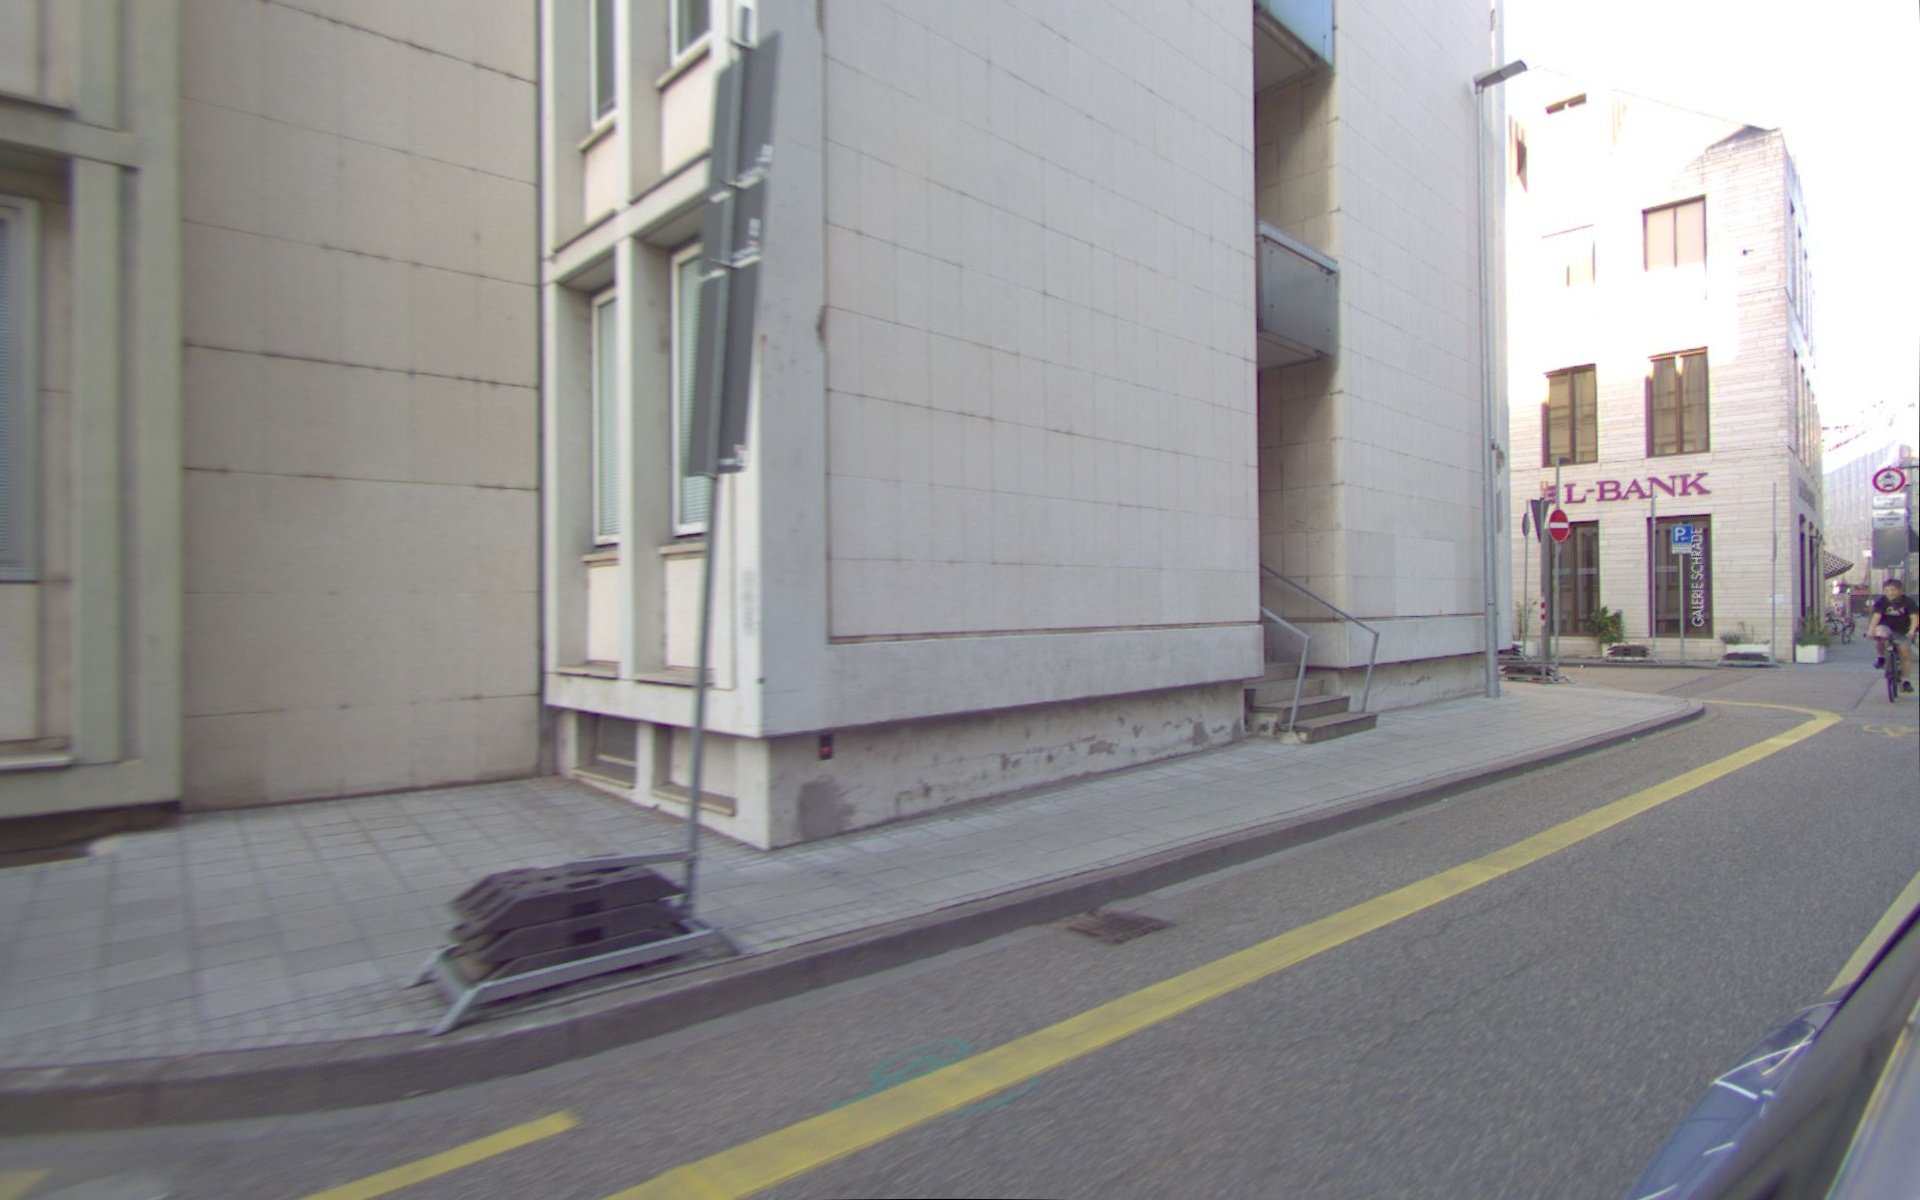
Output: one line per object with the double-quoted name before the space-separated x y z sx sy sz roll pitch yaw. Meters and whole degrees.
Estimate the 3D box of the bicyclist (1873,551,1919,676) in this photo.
"bicyclist" 13.507 0.183 14.413 0.541 1.753 0.501 -1 1 -1

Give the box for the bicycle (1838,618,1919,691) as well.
"bicycle" 13.628 0.758 14.449 1.785 0.986 0.511 -1 1 -3
